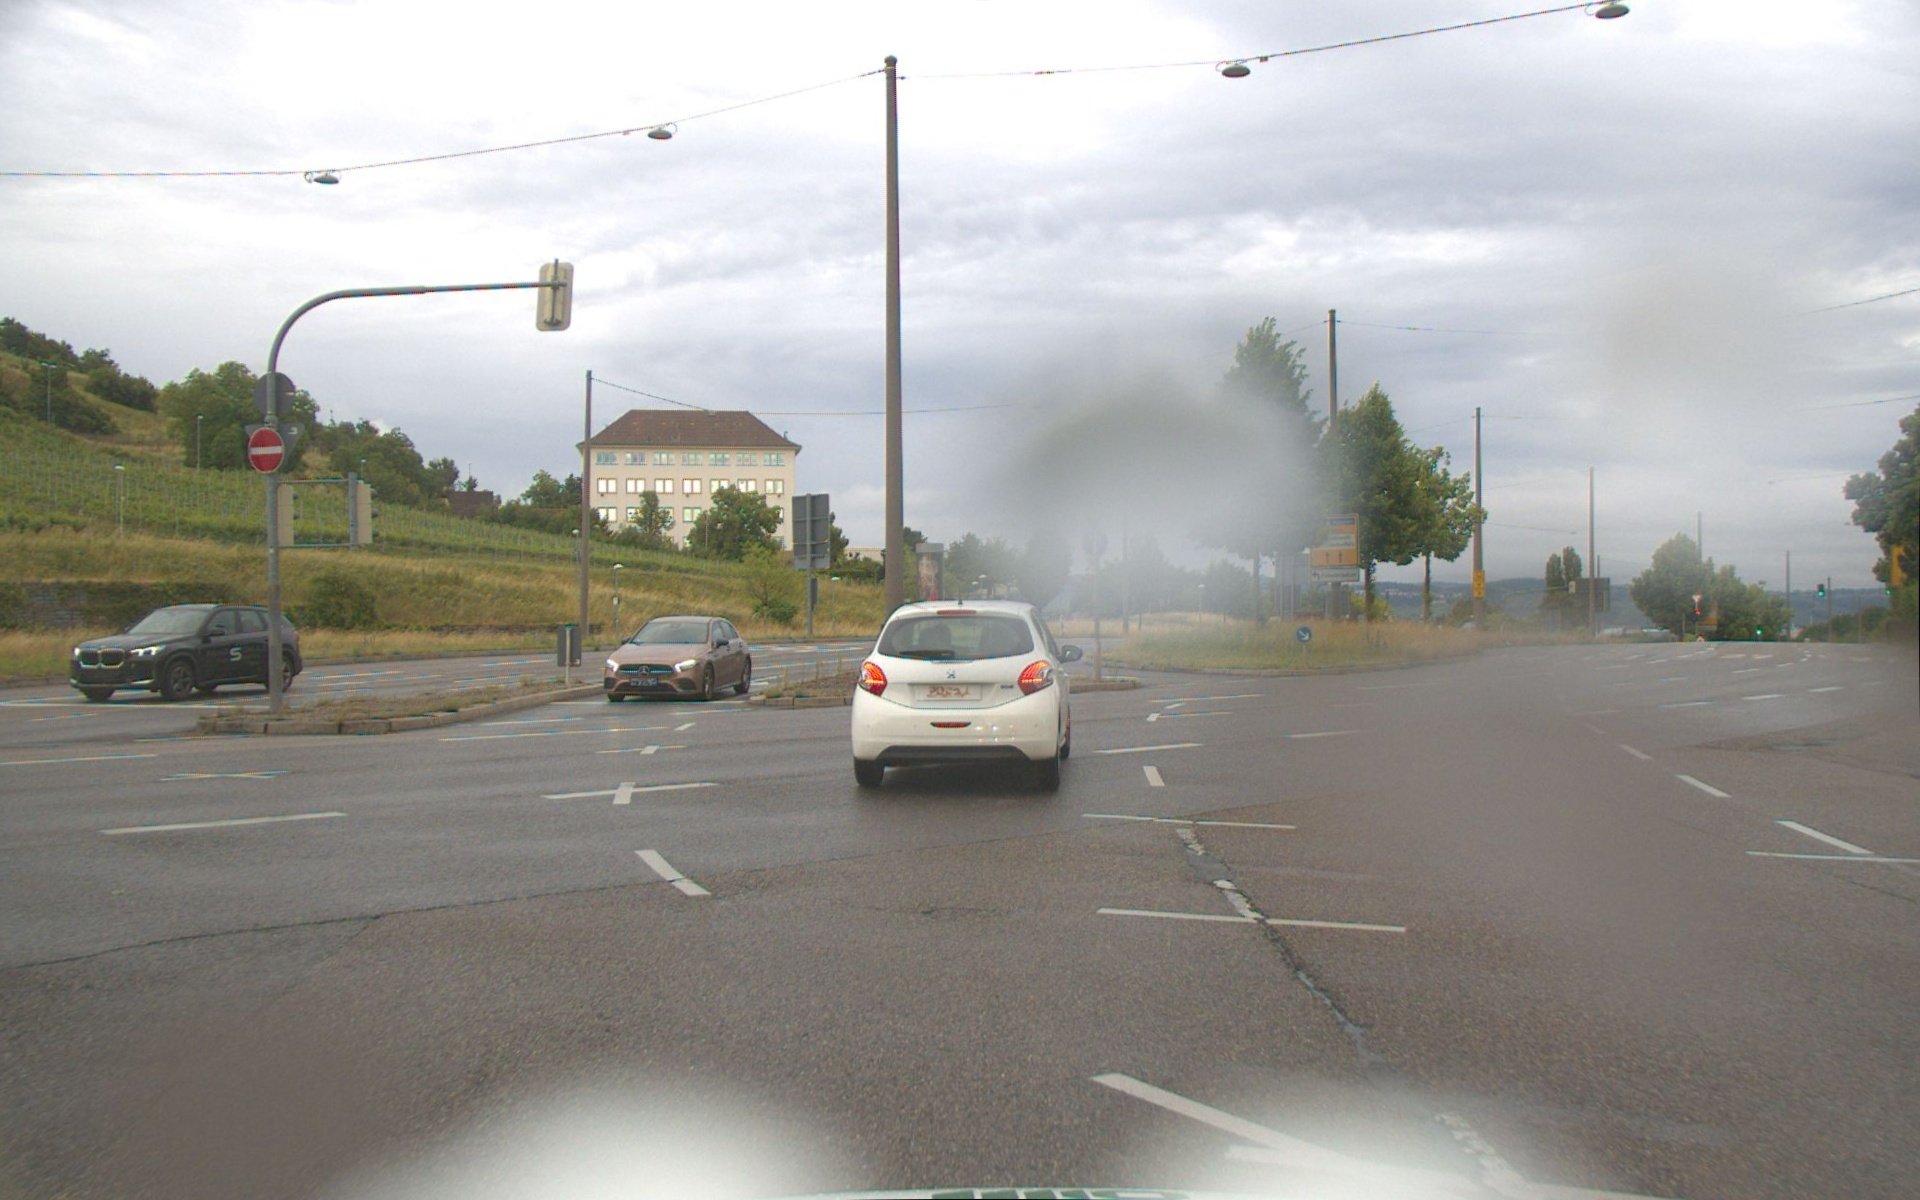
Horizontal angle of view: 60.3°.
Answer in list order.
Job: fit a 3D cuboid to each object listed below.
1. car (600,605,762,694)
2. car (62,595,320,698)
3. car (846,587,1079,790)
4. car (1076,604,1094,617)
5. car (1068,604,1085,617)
[{"bbox_3d":[-4.913,0.840,29.699,1.738,1.450,4.377,-1,-1,6],"label":"car"},{"bbox_3d":[-13.580,0.785,29.546,1.738,1.665,4.512,1,0,13],"label":"car"},{"bbox_3d":[0.157,0.675,14.500,1.681,1.515,4.002,0,0,5],"label":"car"},{"bbox_3d":[15.399,1.315,203.832,1.804,1.512,3.999,0,0,-1],"label":"car"},{"bbox_3d":[14.955,1.338,212.226,1.804,1.512,3.999,0,0,-1],"label":"car"}]
